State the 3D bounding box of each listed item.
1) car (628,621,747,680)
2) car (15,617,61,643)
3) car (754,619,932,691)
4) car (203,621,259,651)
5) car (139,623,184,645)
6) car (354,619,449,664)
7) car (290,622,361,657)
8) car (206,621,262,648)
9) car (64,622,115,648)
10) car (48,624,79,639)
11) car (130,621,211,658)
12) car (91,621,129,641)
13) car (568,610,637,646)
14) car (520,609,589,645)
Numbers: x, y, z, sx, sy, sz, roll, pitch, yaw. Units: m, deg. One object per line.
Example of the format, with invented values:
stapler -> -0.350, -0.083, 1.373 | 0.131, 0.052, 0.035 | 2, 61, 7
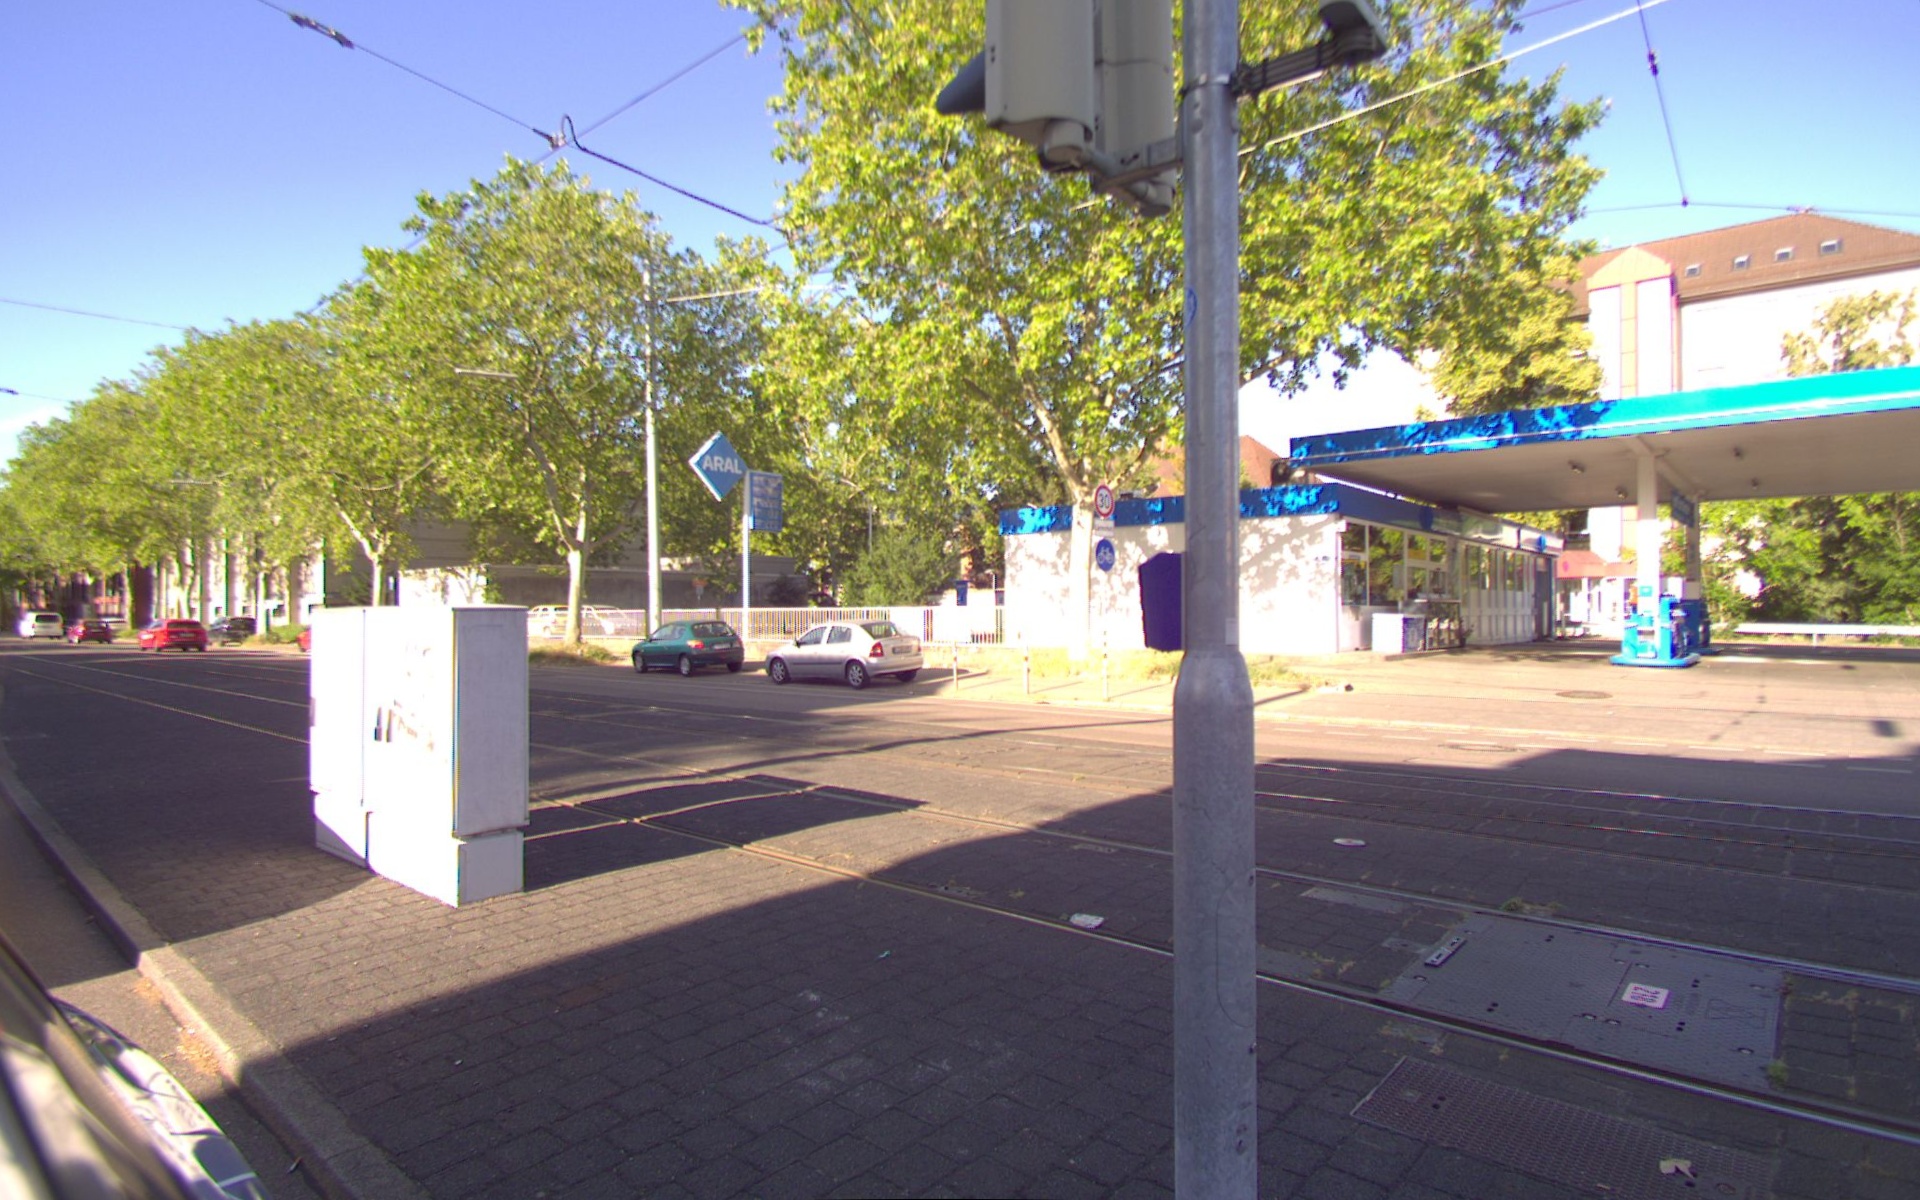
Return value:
car -> -7.286, 1.303, 26.947 | 3.253, 1.431, 1.526 | -1, 0, 41
car -> -66.967, 2.163, 73.489 | 4.390, 1.860, 1.827 | -1, -2, 39
car -> -2.674, 1.158, 22.645 | 3.998, 1.431, 1.709 | -1, 0, 41
car -> -40.731, 1.982, 56.539 | 3.998, 1.587, 1.678 | -1, -2, 41
car -> -53.805, 2.293, 68.204 | 3.998, 1.420, 1.678 | -1, -2, 41
car -> -22.238, 1.606, 40.224 | 4.431, 1.534, 1.731 | -1, 3, 40
car -> -29.044, 1.783, 46.299 | 3.998, 1.480, 1.678 | 0, -1, 41
car -> -40.596, 1.890, 56.580 | 3.998, 1.420, 1.678 | -1, -2, 41
car -> -51.706, 2.081, 60.109 | 3.998, 1.431, 1.678 | -1, -5, 41
car -> -85.176, 2.976, 96.170 | 3.998, 1.420, 1.678 | -1, -2, 41
car -> -35.130, 1.718, 44.978 | 4.761, 1.534, 1.887 | -1, -2, 40
car -> -66.806, 2.417, 79.552 | 3.998, 1.569, 1.678 | -1, -2, 41
car -> -15.196, 1.157, 42.996 | 3.151, 1.431, 1.525 | -1, 0, 44
car -> -16.856, 1.098, 42.004 | 3.151, 1.431, 1.525 | -1, 0, 44
